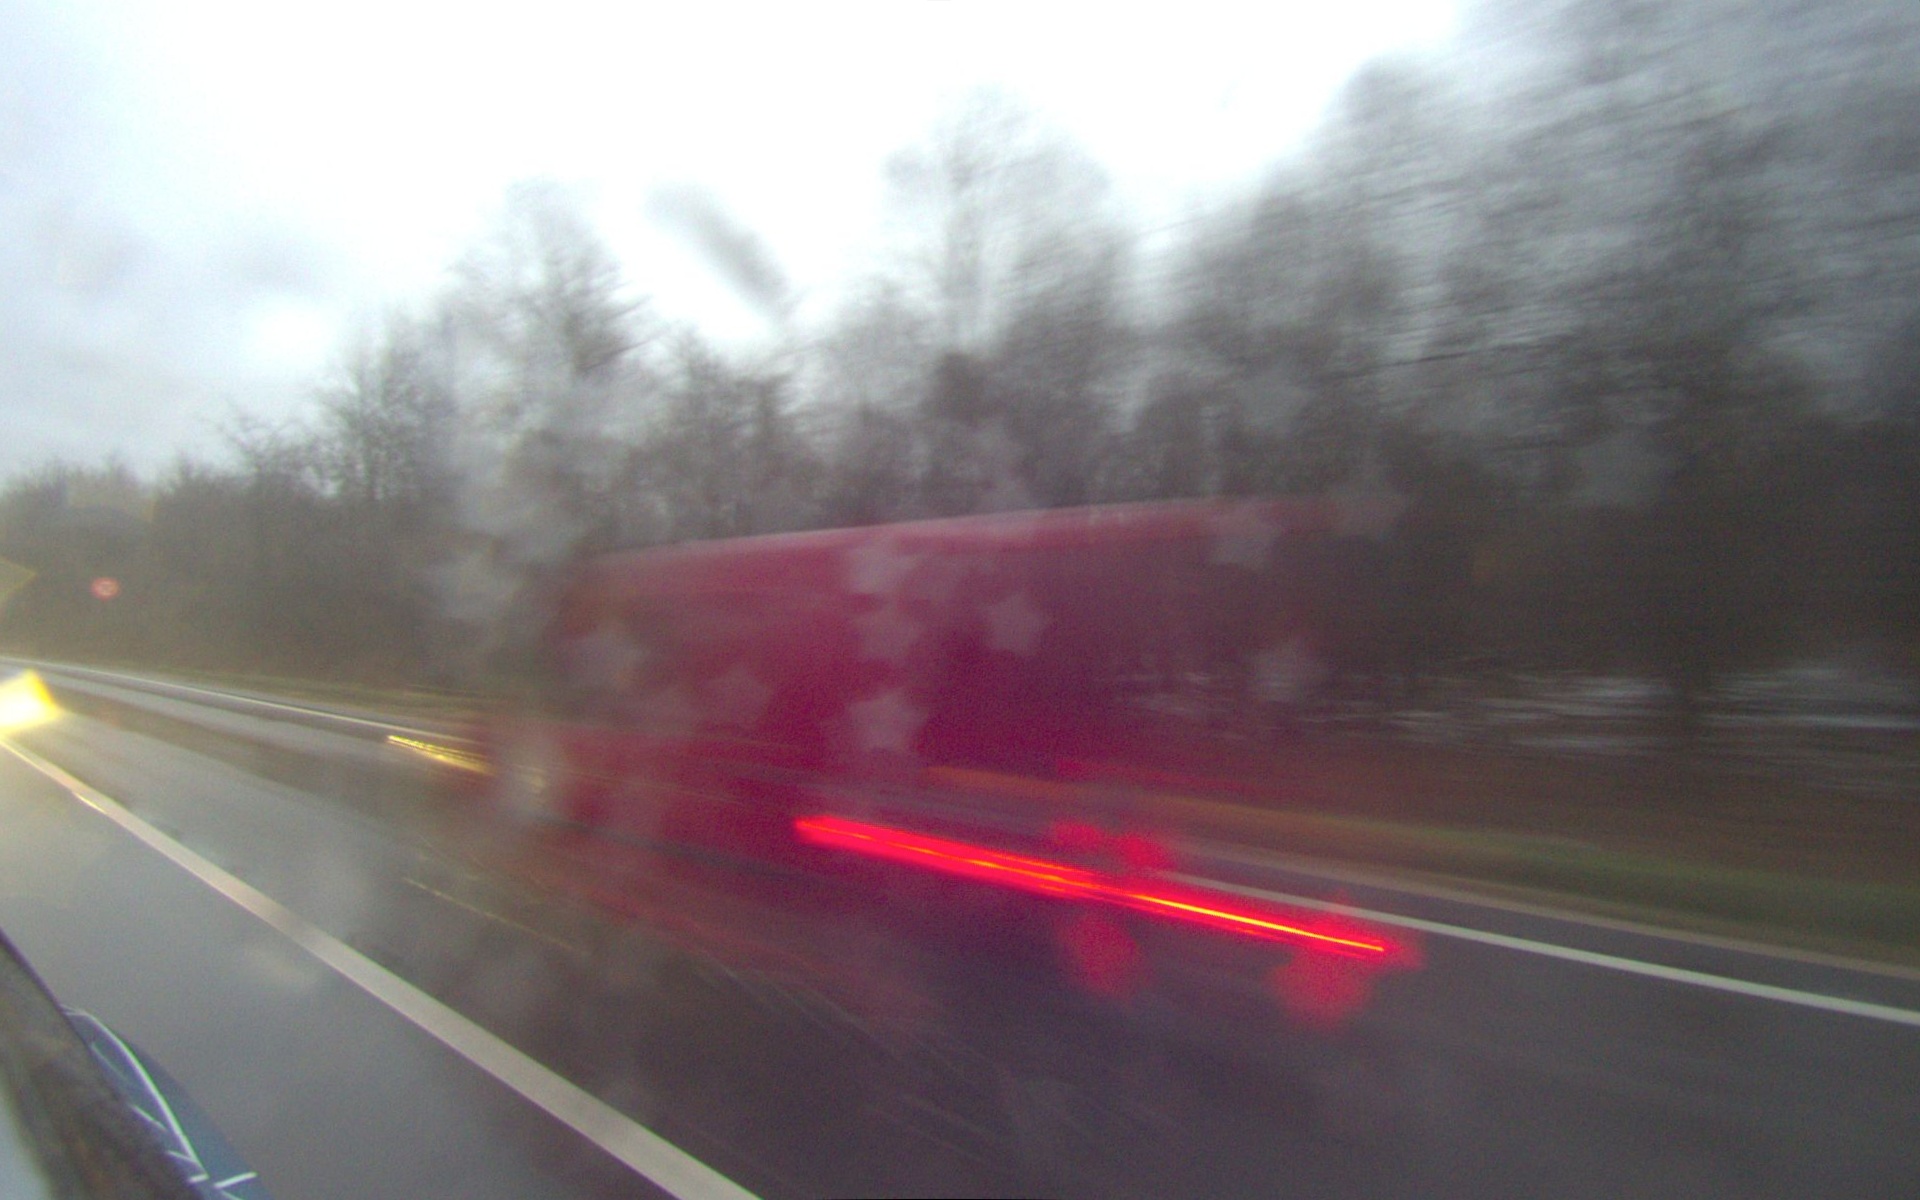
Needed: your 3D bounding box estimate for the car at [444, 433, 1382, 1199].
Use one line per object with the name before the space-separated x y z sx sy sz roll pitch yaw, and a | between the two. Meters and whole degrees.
car | -0.504 0.507 4.201 3.836 1.750 1.656 -1 0 42
